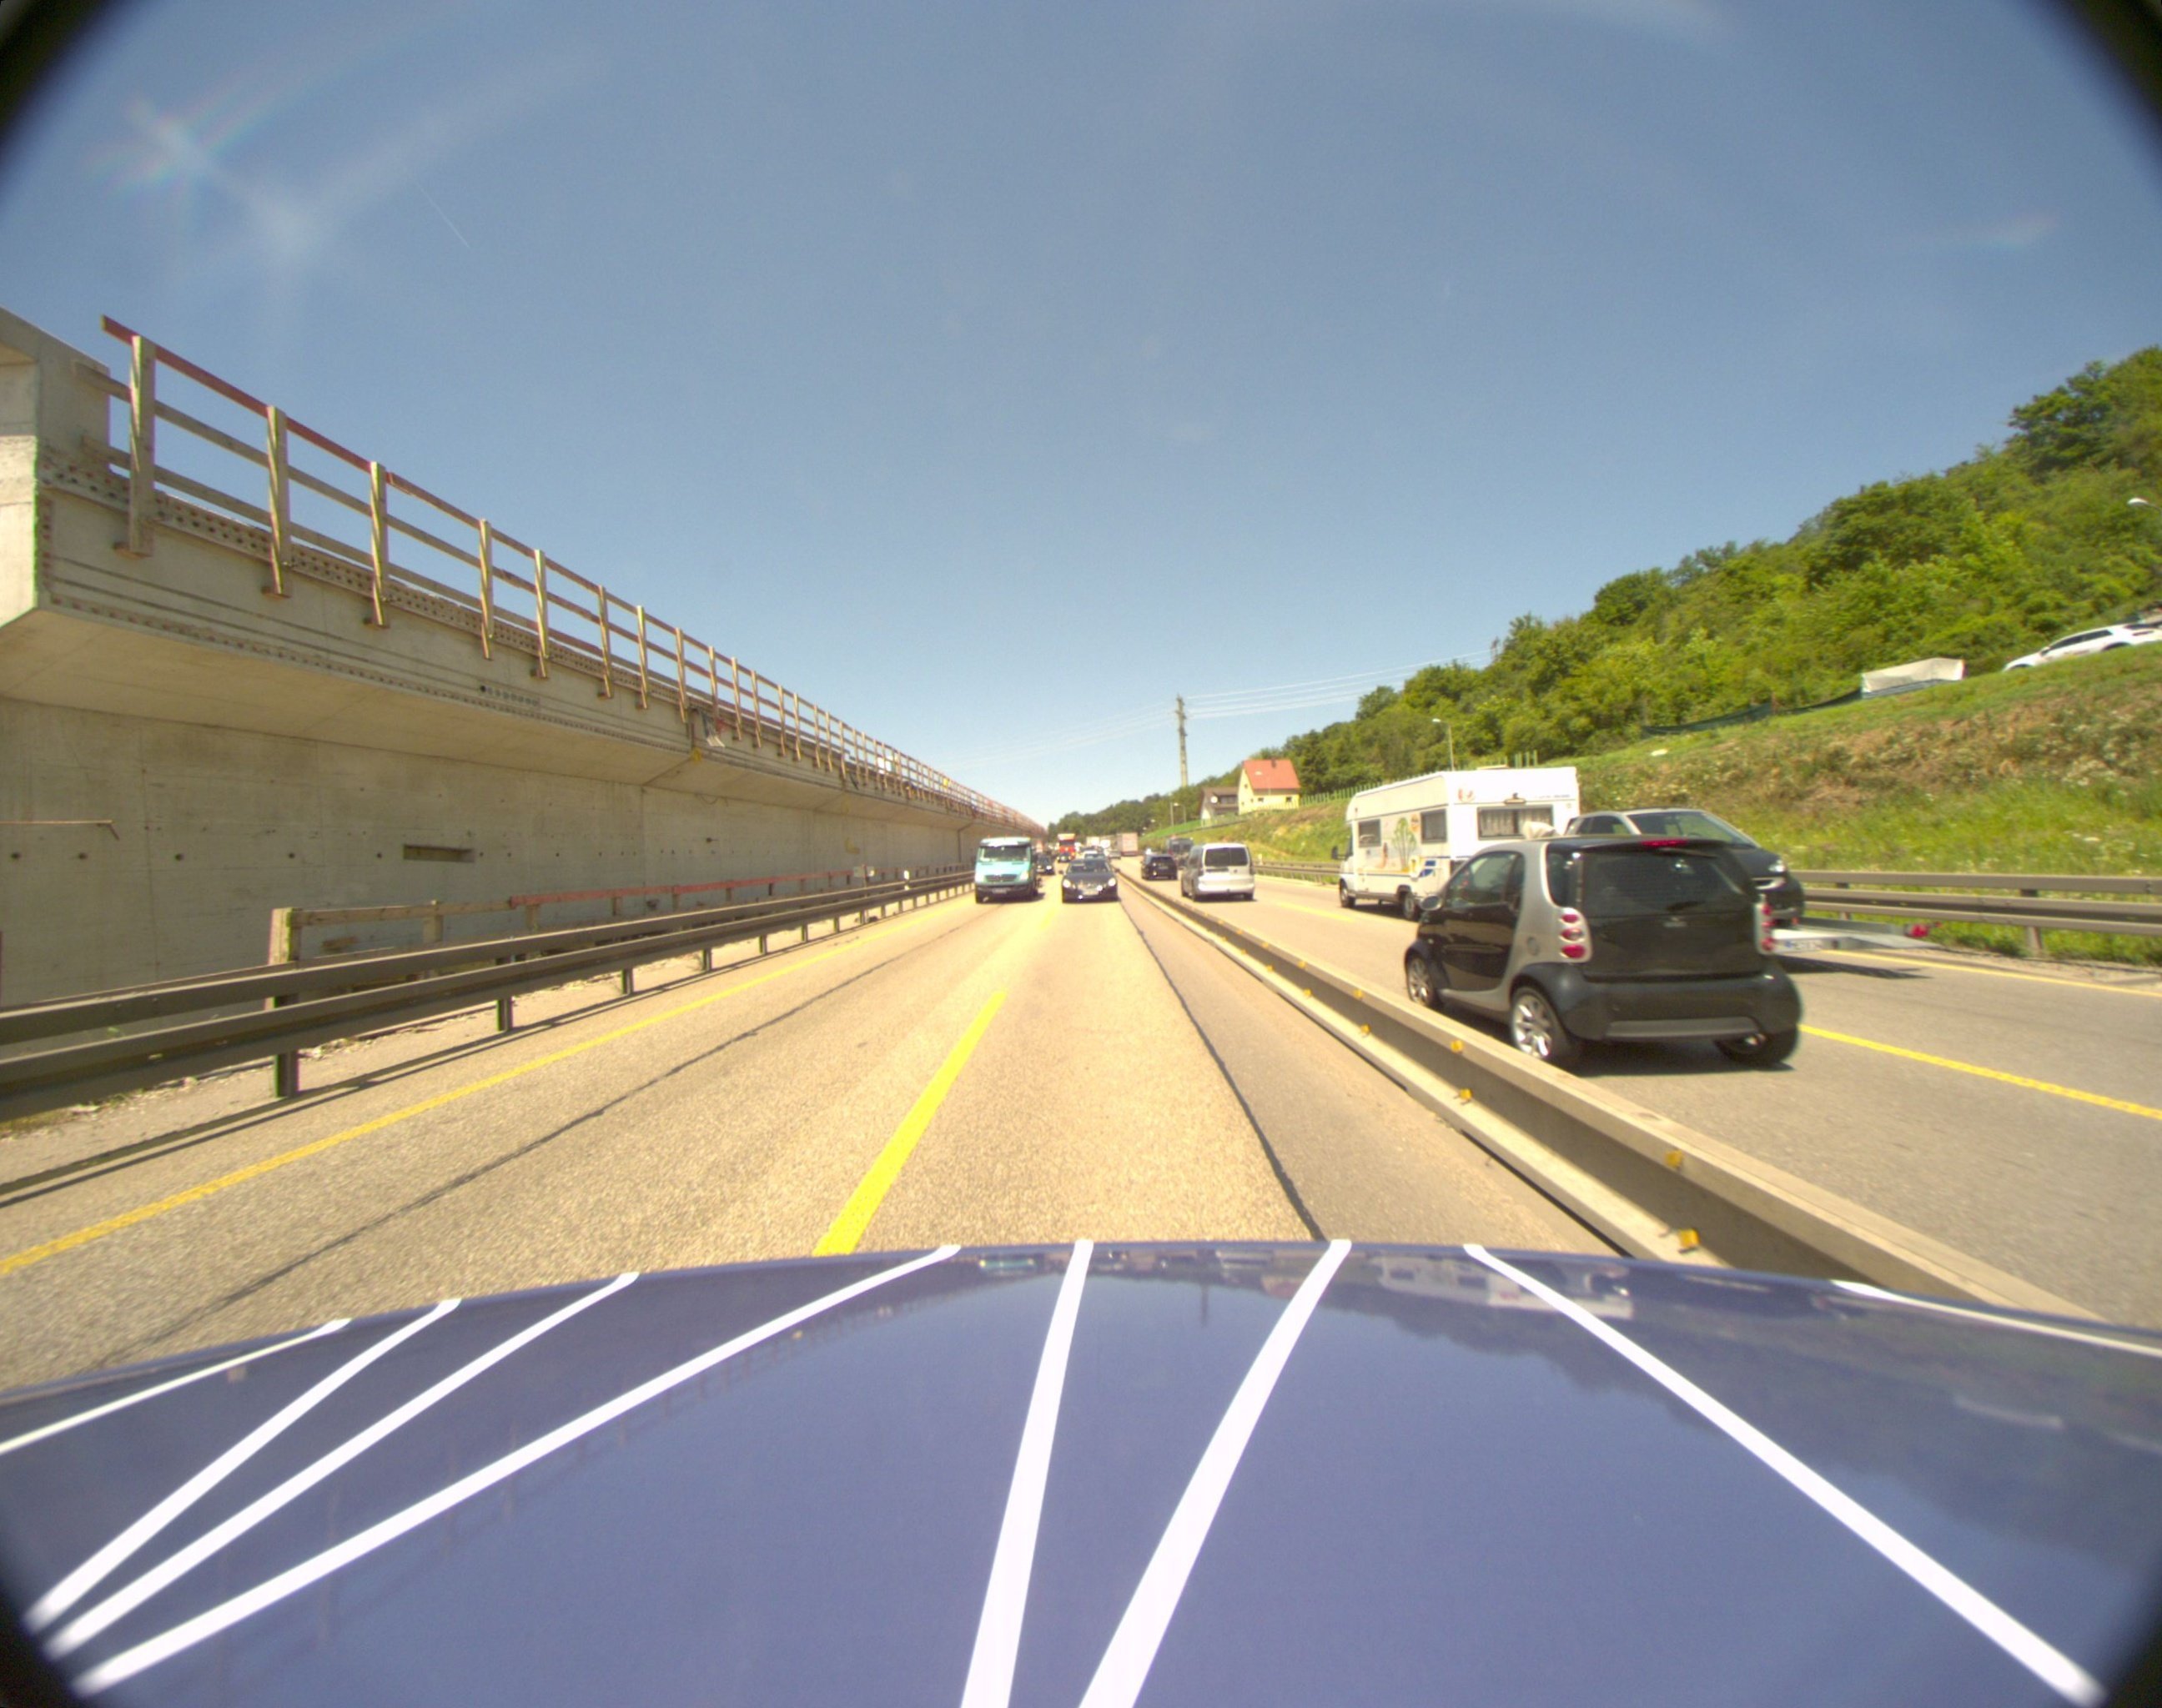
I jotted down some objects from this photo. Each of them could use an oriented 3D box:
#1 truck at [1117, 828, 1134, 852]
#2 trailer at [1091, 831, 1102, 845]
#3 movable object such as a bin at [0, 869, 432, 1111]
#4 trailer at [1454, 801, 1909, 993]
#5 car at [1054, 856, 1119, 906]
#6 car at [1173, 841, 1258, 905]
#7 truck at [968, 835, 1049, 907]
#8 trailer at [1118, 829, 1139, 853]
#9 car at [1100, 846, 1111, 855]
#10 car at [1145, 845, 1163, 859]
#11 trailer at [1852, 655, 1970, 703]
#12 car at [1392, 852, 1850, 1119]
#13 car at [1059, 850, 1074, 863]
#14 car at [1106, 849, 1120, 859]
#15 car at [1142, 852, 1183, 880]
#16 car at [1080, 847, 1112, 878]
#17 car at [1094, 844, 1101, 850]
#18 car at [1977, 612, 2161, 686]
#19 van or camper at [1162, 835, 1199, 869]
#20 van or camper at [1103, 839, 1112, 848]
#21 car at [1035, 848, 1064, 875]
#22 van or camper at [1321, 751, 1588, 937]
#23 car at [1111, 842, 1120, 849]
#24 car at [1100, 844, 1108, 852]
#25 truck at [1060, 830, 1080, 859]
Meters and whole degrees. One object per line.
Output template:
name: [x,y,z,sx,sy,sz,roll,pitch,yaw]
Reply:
truck: [8.375,-2.628,143.650,2.627,4.371,10.383,-2,1,1]
trailer: [5.194,-5.313,255.249,3.111,4.417,14.625,-2,1,0]
movable object such as a bin: [-21.268,2.615,18.405,2.961,4.040,9.153,-2,1,0]
trailer: [7.367,0.431,10.291,2.107,1.883,5.141,-2,0,1]
car: [0.233,0.855,26.118,1.998,1.441,4.601,-2,1,1]
car: [4.248,0.543,24.810,1.842,1.817,5.040,-2,0,0]
truck: [-2.572,0.483,28.953,2.139,2.344,7.431,-2,1,1]
trailer: [8.363,-2.305,134.103,2.937,3.966,8.704,-2,1,-1]
car: [4.362,-0.592,134.145,1.806,1.455,4.000,-2,1,2]
car: [8.914,-0.282,93.146,1.777,1.573,4.285,-3,0,1]
trailer: [37.266,-7.815,34.214,1.908,1.507,3.034,-2,1,-10]
car: [3.696,0.760,5.791,1.487,1.496,2.805,-2,0,1]
car: [-1.868,0.327,99.969,1.883,1.532,4.280,-2,1,0]
car: [4.678,0.000,111.523,1.834,1.425,4.629,-1,0,0]
car: [4.598,0.662,43.634,1.847,1.467,4.834,-2,0,0]
car: [1.022,0.499,49.636,1.884,1.805,4.250,-2,1,2]
car: [4.752,-1.975,217.410,1.875,1.674,4.000,-1,1,1]
car: [38.024,-7.722,29.026,2.000,1.646,4.548,-2,1,-9]
van or camper: [8.072,-0.210,62.404,2.145,2.558,6.564,-2,0,0]
van or camper: [7.573,-3.000,217.134,2.356,2.619,6.901,-2,1,1]
car: [-2.311,0.501,56.761,1.885,1.805,4.249,-2,1,0]
van or camper: [7.389,-0.181,16.250,2.297,3.048,6.923,-2,0,1]
car: [8.638,-2.195,191.857,1.998,1.499,5.299,-2,1,1]
car: [5.445,-1.503,182.870,1.854,1.879,4.501,-2,0,1]
truck: [-1.708,-1.566,120.411,2.750,4.222,9.093,-2,1,0]
